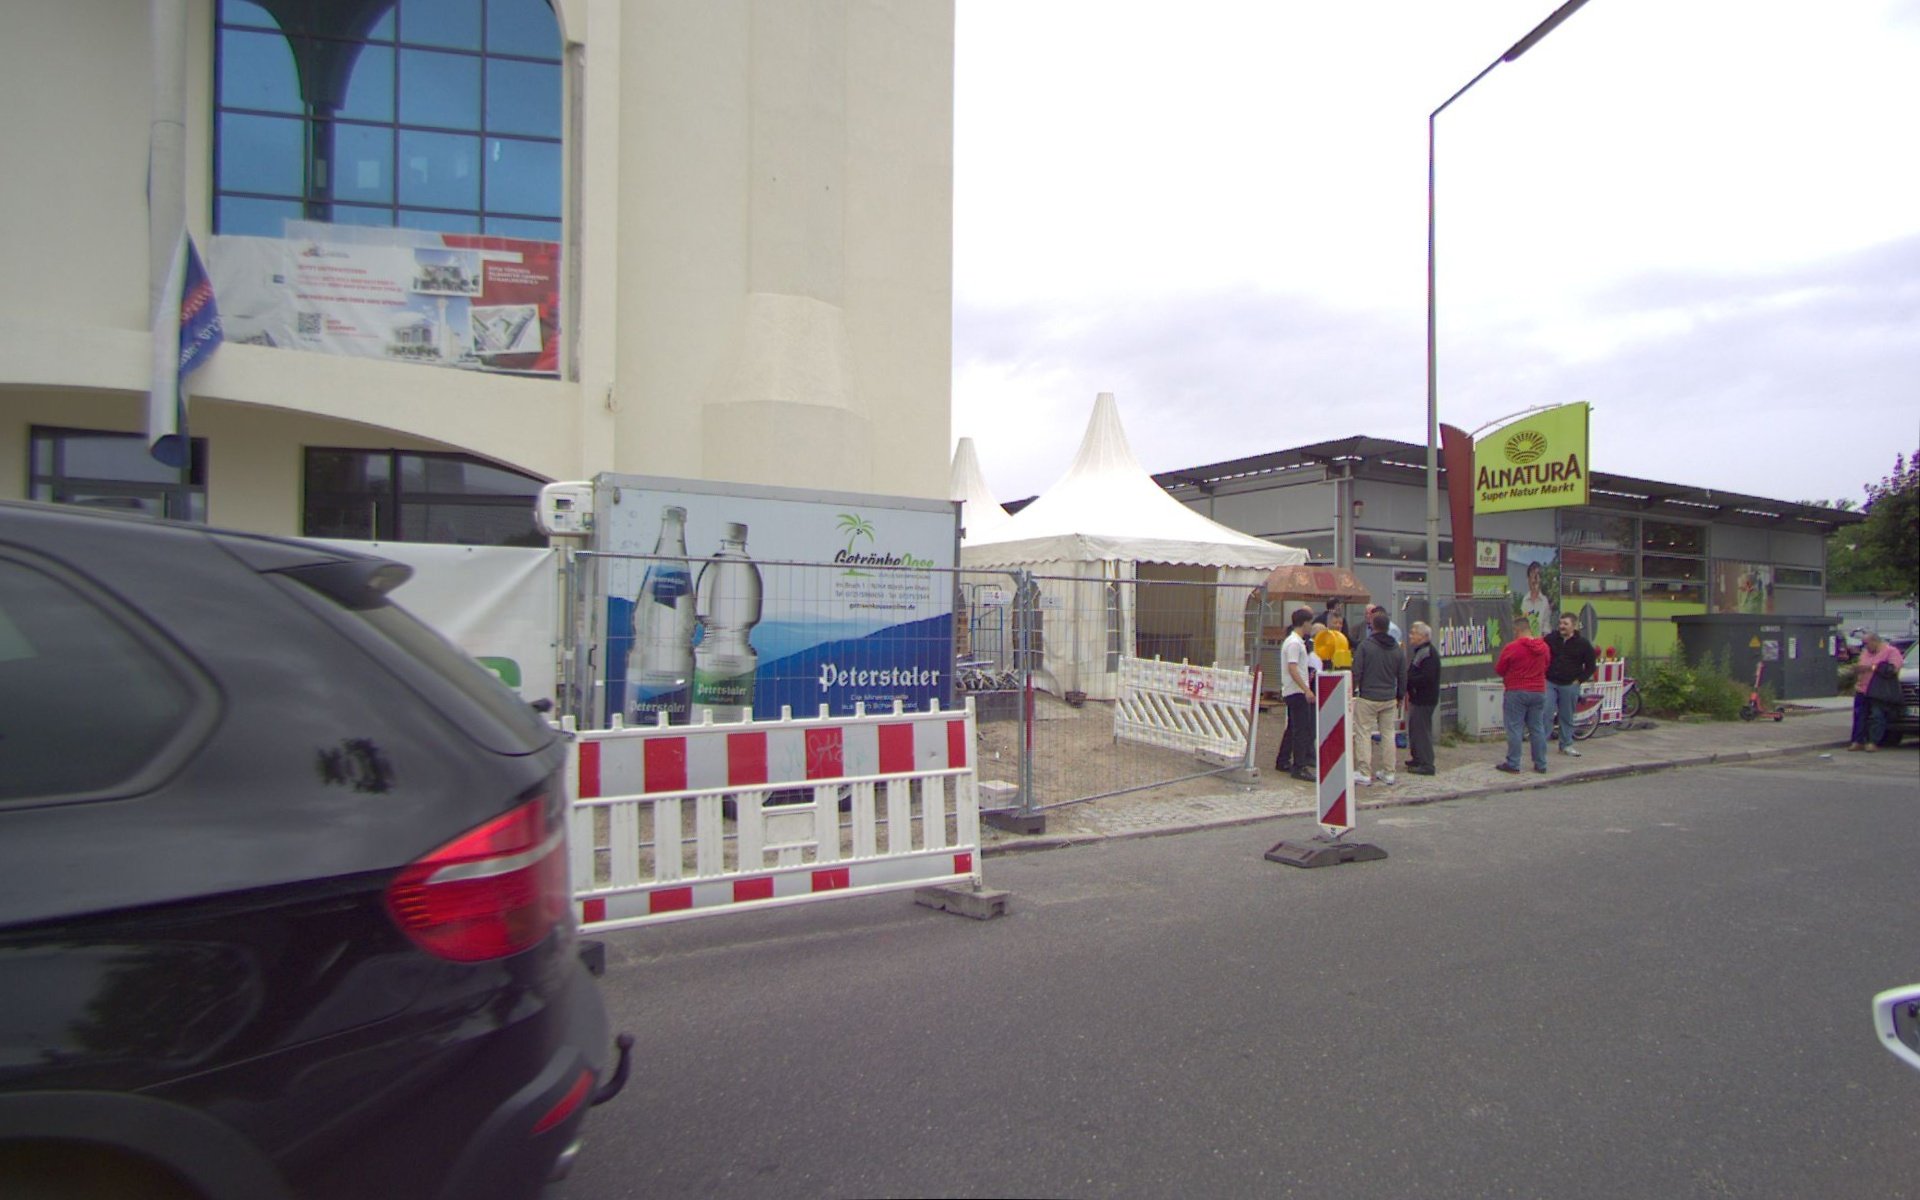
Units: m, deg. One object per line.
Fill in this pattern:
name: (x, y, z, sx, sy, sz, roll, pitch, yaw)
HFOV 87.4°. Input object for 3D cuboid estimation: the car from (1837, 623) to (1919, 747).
car: (15.332, 1.217, 14.975, 4.671, 1.713, 1.858, 1, -5, -29)

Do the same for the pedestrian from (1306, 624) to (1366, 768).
pedestrian: (4.477, 1.117, 11.946, 0.531, 1.633, 0.489, 2, 0, 33)

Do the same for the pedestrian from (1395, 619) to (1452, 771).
pedestrian: (5.142, 1.036, 11.158, 0.481, 1.633, 0.572, 0, -1, 16)

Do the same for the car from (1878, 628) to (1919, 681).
car: (32.153, 1.800, 32.019, 1.904, 1.642, 3.856, 1, 0, -29)

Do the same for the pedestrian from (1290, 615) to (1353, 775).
pedestrian: (4.083, 1.055, 11.365, 0.518, 1.772, 0.491, 0, 0, -2)

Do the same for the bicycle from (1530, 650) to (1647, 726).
bicycle: (10.713, 1.475, 17.182, 0.388, 1.060, 1.651, 1, 3, -31)

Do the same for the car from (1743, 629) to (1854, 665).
car: (42.456, 2.353, 50.935, 1.854, 1.691, 3.969, 1, -2, -29)

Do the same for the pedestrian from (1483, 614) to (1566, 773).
pedestrian: (6.416, 1.049, 11.434, 0.707, 1.778, 0.410, 0, -1, -4)

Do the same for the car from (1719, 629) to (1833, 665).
car: (40.201, 2.273, 49.580, 1.854, 1.691, 3.969, 1, -2, -29)

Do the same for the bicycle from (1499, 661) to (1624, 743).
bicycle: (8.598, 1.444, 14.342, 1.874, 1.092, 0.542, 2, -1, -24)

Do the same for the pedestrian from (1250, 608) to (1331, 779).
pedestrian: (3.543, 0.978, 10.772, 0.682, 1.772, 0.488, 1, -1, -24)

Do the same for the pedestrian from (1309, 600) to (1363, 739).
pedestrian: (5.244, 0.951, 14.005, 0.626, 1.890, 0.389, -1, -2, 37)

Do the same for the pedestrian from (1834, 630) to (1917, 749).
pedestrian: (13.025, 1.253, 14.297, 0.645, 1.643, 0.670, 1, -2, -29)

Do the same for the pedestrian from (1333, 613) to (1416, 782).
pedestrian: (4.451, 1.027, 10.804, 0.678, 1.772, 0.491, 0, 0, -2)

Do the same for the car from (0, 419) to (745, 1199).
car: (-2.844, 0.633, 1.486, 4.599, 1.683, 1.951, 1, -4, -30)

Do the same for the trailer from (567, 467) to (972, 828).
trailer: (-1.696, 0.391, 8.876, 3.150, 2.641, 1.792, 1, -2, -27)

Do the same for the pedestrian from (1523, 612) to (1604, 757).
pedestrian: (7.643, 1.040, 12.754, 0.673, 1.741, 0.696, 1, 3, 14)

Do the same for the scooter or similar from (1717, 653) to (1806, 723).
scooter or similar: (14.413, 1.562, 18.058, 1.621, 1.172, 0.659, 1, -1, -28)

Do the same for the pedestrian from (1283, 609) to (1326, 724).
pedestrian: (5.046, 0.961, 14.718, 0.463, 1.657, 0.422, 0, -1, -5)
